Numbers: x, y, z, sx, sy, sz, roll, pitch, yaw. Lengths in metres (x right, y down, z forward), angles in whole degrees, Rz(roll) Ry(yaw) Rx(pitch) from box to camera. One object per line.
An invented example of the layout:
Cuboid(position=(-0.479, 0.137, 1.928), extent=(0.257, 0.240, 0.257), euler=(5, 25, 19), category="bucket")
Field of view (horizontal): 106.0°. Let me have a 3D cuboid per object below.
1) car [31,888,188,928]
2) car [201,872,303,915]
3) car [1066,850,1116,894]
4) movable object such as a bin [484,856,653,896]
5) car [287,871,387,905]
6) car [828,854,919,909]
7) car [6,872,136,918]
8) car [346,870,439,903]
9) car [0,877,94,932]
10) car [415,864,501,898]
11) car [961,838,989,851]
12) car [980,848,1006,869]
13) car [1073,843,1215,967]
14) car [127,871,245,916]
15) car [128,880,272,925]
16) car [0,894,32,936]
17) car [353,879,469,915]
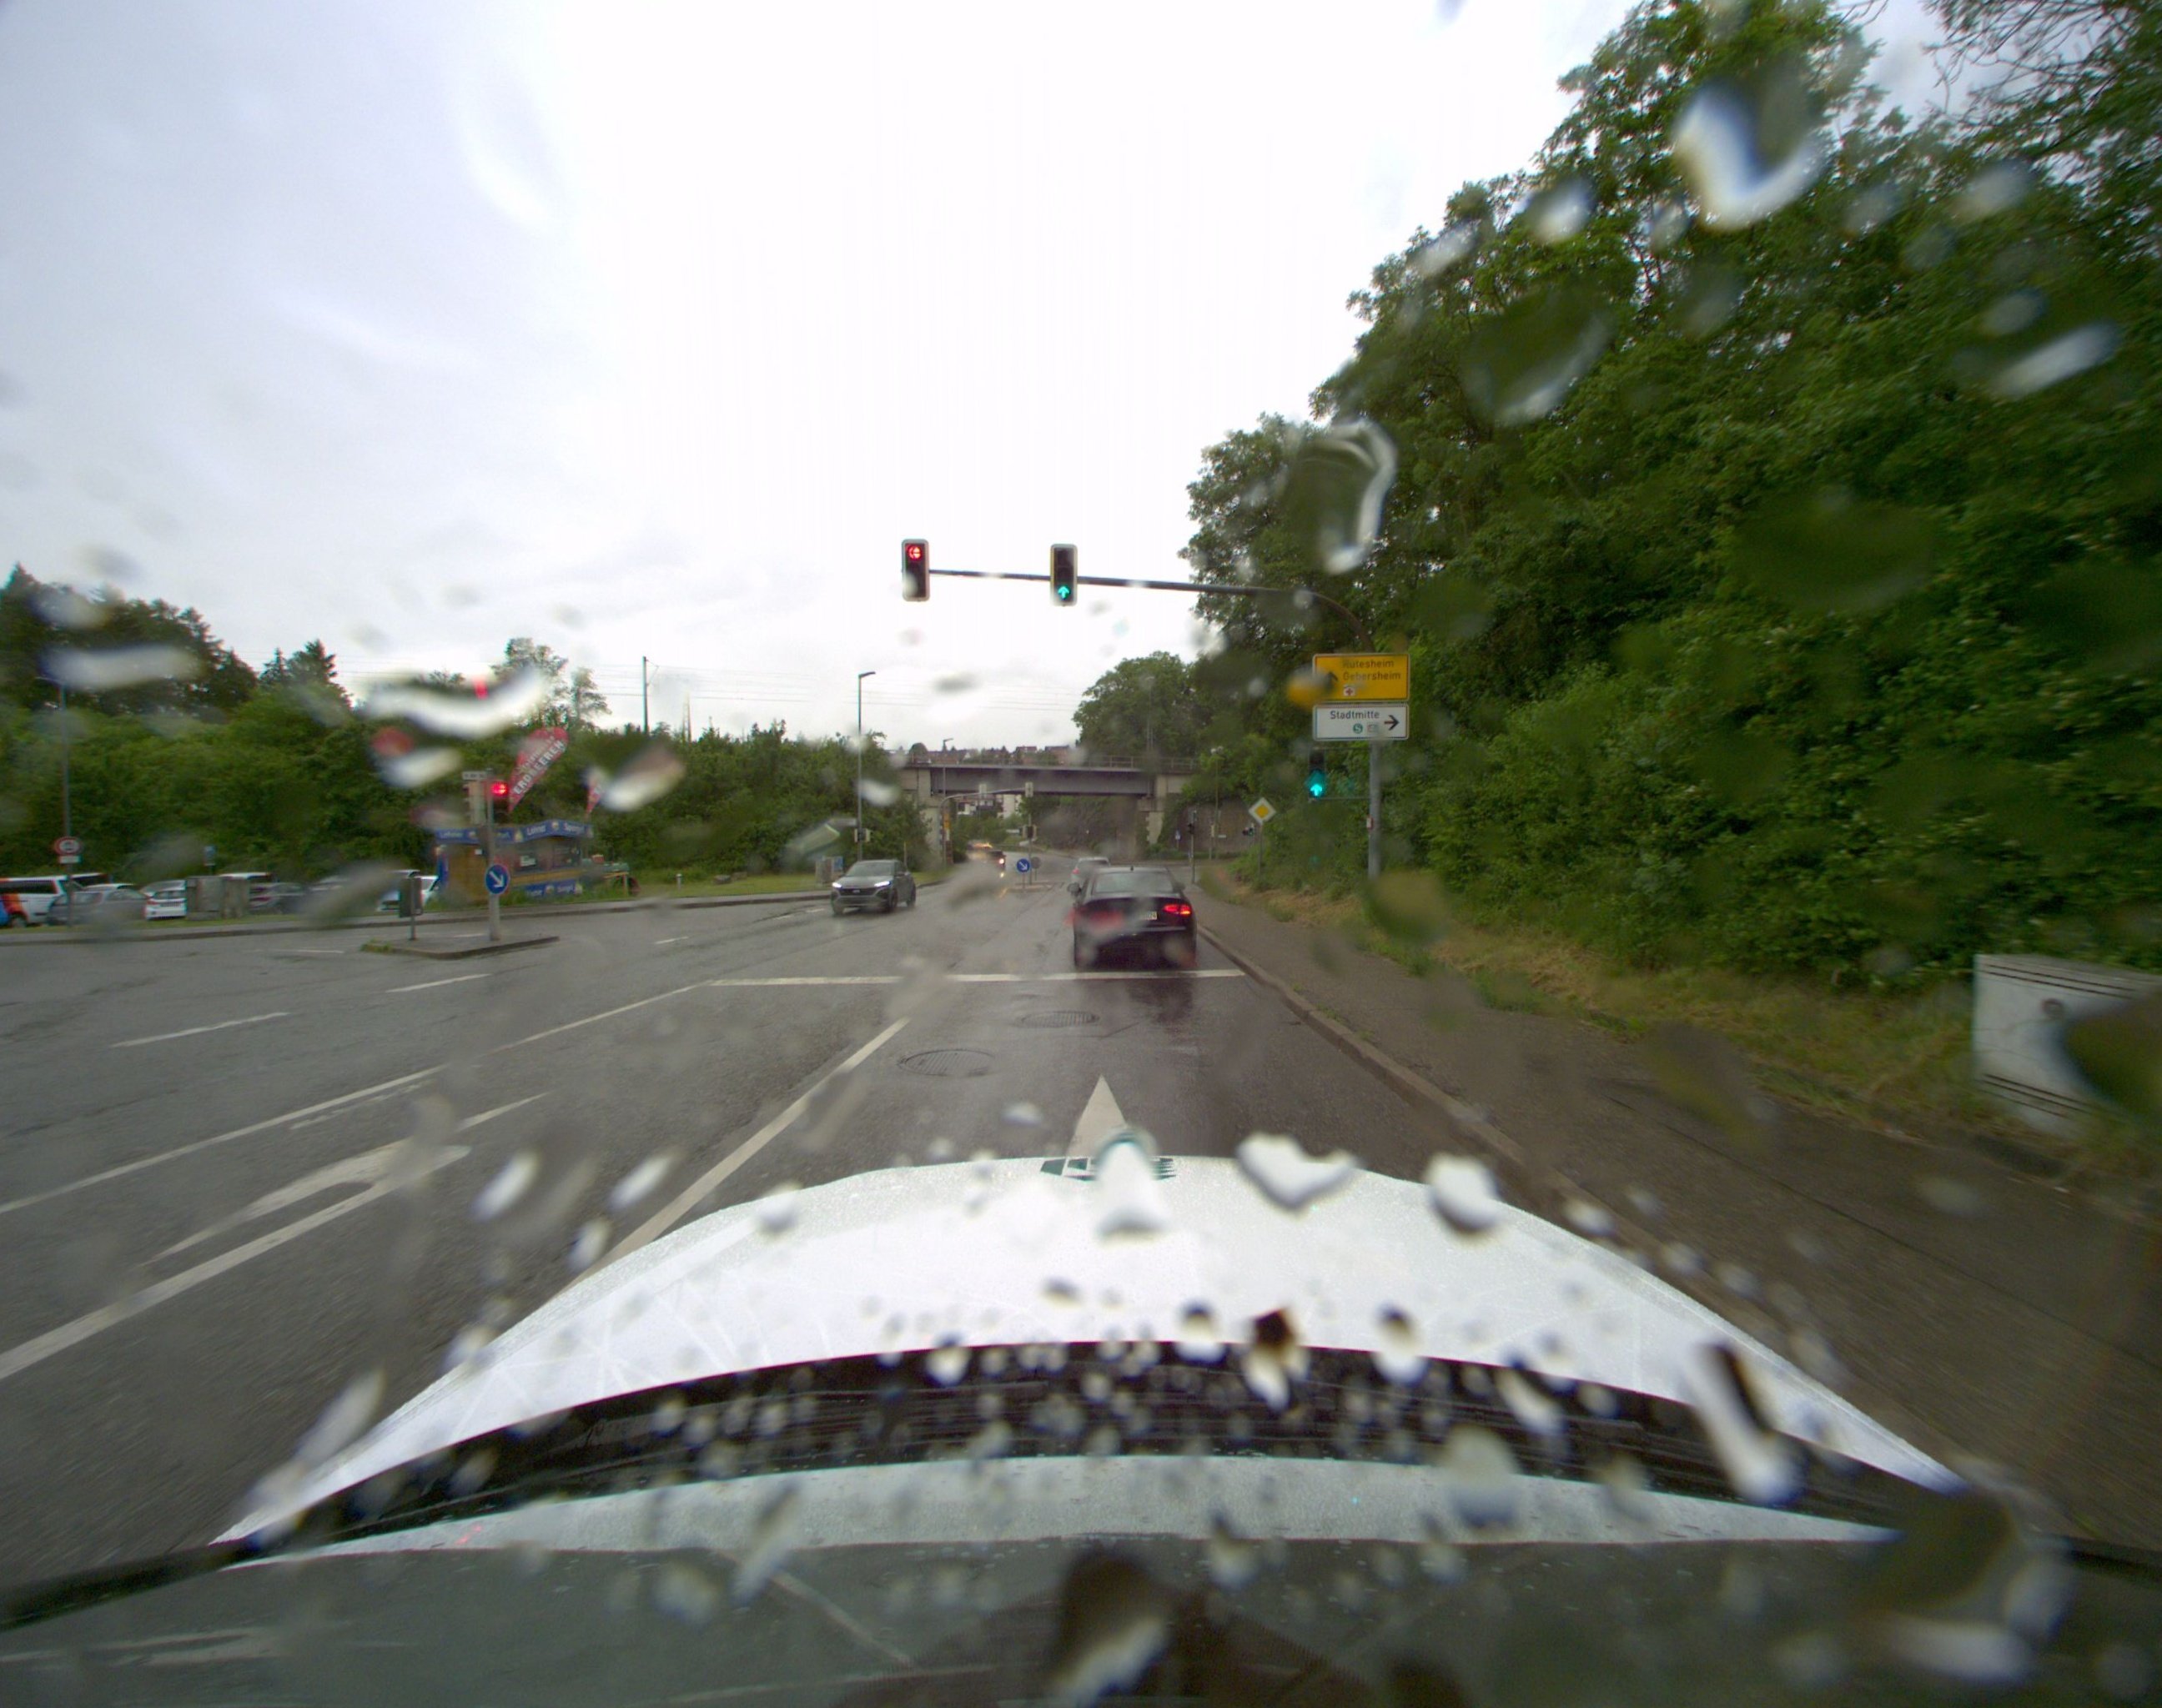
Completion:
Cuboid(position=(-37.414, 2.042, 31.547), extent=(1.751, 1.310, 3.984), euler=(-1, -1, -11), category="car")
Cuboid(position=(-42.430, 1.981, 41.797), extent=(1.941, 2.013, 3.848), euler=(-1, 0, -15), category="car")
Cuboid(position=(0.428, 0.703, 31.688), extent=(1.816, 1.585, 4.001), euler=(-1, -1, 2), category="car")
Cuboid(position=(-22.642, 0.944, 36.196), extent=(2.716, 1.628, 5.816), euler=(-2, -1, 41), category="movable object such as a bin")
Cuboid(position=(-38.213, 1.716, 41.985), extent=(1.994, 1.585, 3.984), euler=(-1, -1, -11), category="car")
Cuboid(position=(-6.245, 0.772, 24.922), extent=(1.633, 1.469, 4.001), euler=(-2, 0, 1), category="car")
Cuboid(position=(-49.591, 1.950, 40.129), extent=(1.997, 2.013, 3.980), euler=(-1, 0, -14), category="car")
Cuboid(position=(-35.610, 1.667, 42.269), extent=(1.994, 1.585, 3.984), euler=(-1, -1, -11), category="car")
Cuboid(position=(-39.693, 1.855, 30.202), extent=(1.997, 1.949, 3.978), euler=(-1, -1, -16), category="car")
Cuboid(position=(-32.879, 1.383, 43.152), extent=(1.995, 1.585, 3.984), euler=(-2, 0, -11), category="car")
Cuboid(position=(-14.280, -1.257, 109.847), extent=(2.010, 1.595, 3.955), euler=(-2, 3, -38), category="car")
Cuboid(position=(-7.279, 0.356, 67.709), extent=(1.990, 1.628, 3.993), euler=(-2, 0, -5), category="car")
Cuboid(position=(0.901, 0.717, 12.895), extent=(1.863, 1.617, 4.001), euler=(-1, -1, 2), category="car")
Cuboid(position=(-45.030, 1.934, 41.116), extent=(1.995, 2.013, 3.983), euler=(-2, 0, -12), category="car")
Cuboid(position=(-34.866, 1.868, 32.399), extent=(1.937, 1.585, 3.892), euler=(-1, -1, -11), category="car")
Cuboid(position=(-41.975, 2.349, 30.121), extent=(1.858, 1.585, 3.978), euler=(-1, -1, -16), category="car")
Cuboid(position=(-28.042, 1.764, 34.310), extent=(1.652, 1.340, 4.883), euler=(-1, -1, -11), category="car")
